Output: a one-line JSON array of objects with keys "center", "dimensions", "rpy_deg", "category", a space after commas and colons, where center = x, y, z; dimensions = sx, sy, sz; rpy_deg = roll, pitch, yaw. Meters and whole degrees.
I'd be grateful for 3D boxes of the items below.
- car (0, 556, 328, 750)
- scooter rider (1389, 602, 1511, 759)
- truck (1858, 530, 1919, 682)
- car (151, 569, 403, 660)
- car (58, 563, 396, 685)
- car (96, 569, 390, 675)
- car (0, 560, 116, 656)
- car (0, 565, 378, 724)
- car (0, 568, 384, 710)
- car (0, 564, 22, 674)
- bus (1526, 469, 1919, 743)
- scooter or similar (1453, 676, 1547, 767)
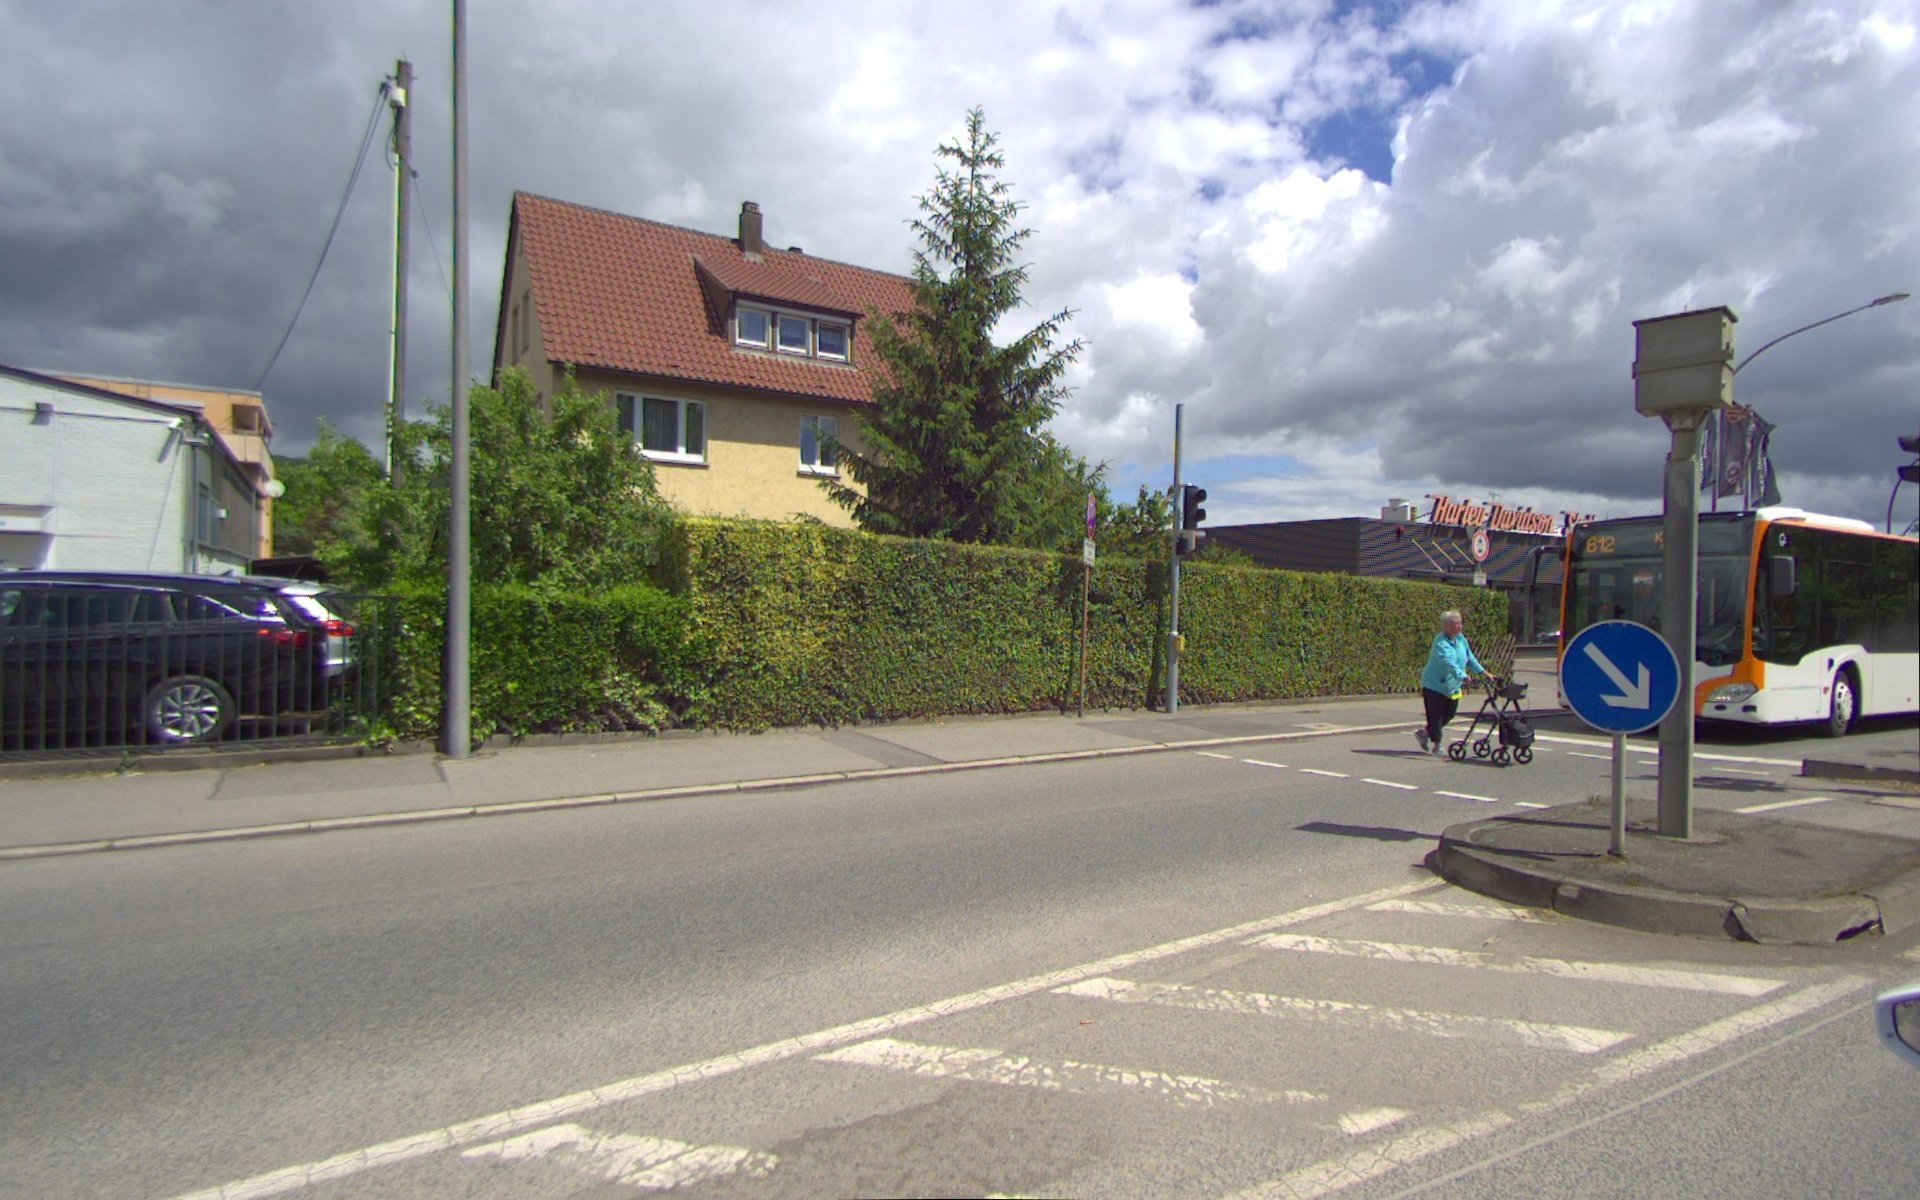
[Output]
[{"center": [-8.101, 0.419, 8.843], "dimensions": [4.224, 1.527, 2.140], "rpy_deg": [1, -1, -35], "category": "car"}, {"center": [5.342, 0.841, 10.974], "dimensions": [0.787, 1.611, 0.873], "rpy_deg": [1, 1, -31], "category": "scooter rider"}, {"center": [30.087, 0.287, 30.514], "dimensions": [9.068, 4.186, 2.410], "rpy_deg": [2, 2, -38], "category": "truck"}, {"center": [-13.424, 0.300, 19.910], "dimensions": [3.963, 1.639, 1.763], "rpy_deg": [1, -1, -37], "category": "car"}, {"center": [-10.976, 0.369, 15.386], "dimensions": [3.959, 1.639, 1.765], "rpy_deg": [1, -1, -34], "category": "car"}, {"center": [-12.280, 0.381, 17.435], "dimensions": [3.963, 1.639, 1.763], "rpy_deg": [1, -1, -37], "category": "car"}, {"center": [-17.424, 0.124, 17.546], "dimensions": [3.963, 1.639, 1.763], "rpy_deg": [1, -1, -37], "category": "car"}, {"center": [-8.966, 0.441, 11.113], "dimensions": [4.224, 1.527, 2.140], "rpy_deg": [1, 0, -35], "category": "car"}, {"center": [-10.014, 0.493, 13.357], "dimensions": [3.959, 1.639, 1.765], "rpy_deg": [1, -1, -34], "category": "car"}, {"center": [-16.437, 0.241, 14.545], "dimensions": [3.963, 1.639, 1.763], "rpy_deg": [1, -1, -37], "category": "car"}, {"center": [14.041, 0.239, 16.410], "dimensions": [11.982, 3.309, 2.764], "rpy_deg": [2, -1, -31], "category": "bus"}, {"center": [5.603, 1.244, 10.430], "dimensions": [0.652, 0.843, 0.608], "rpy_deg": [1, 0, -31], "category": "scooter or similar"}]
